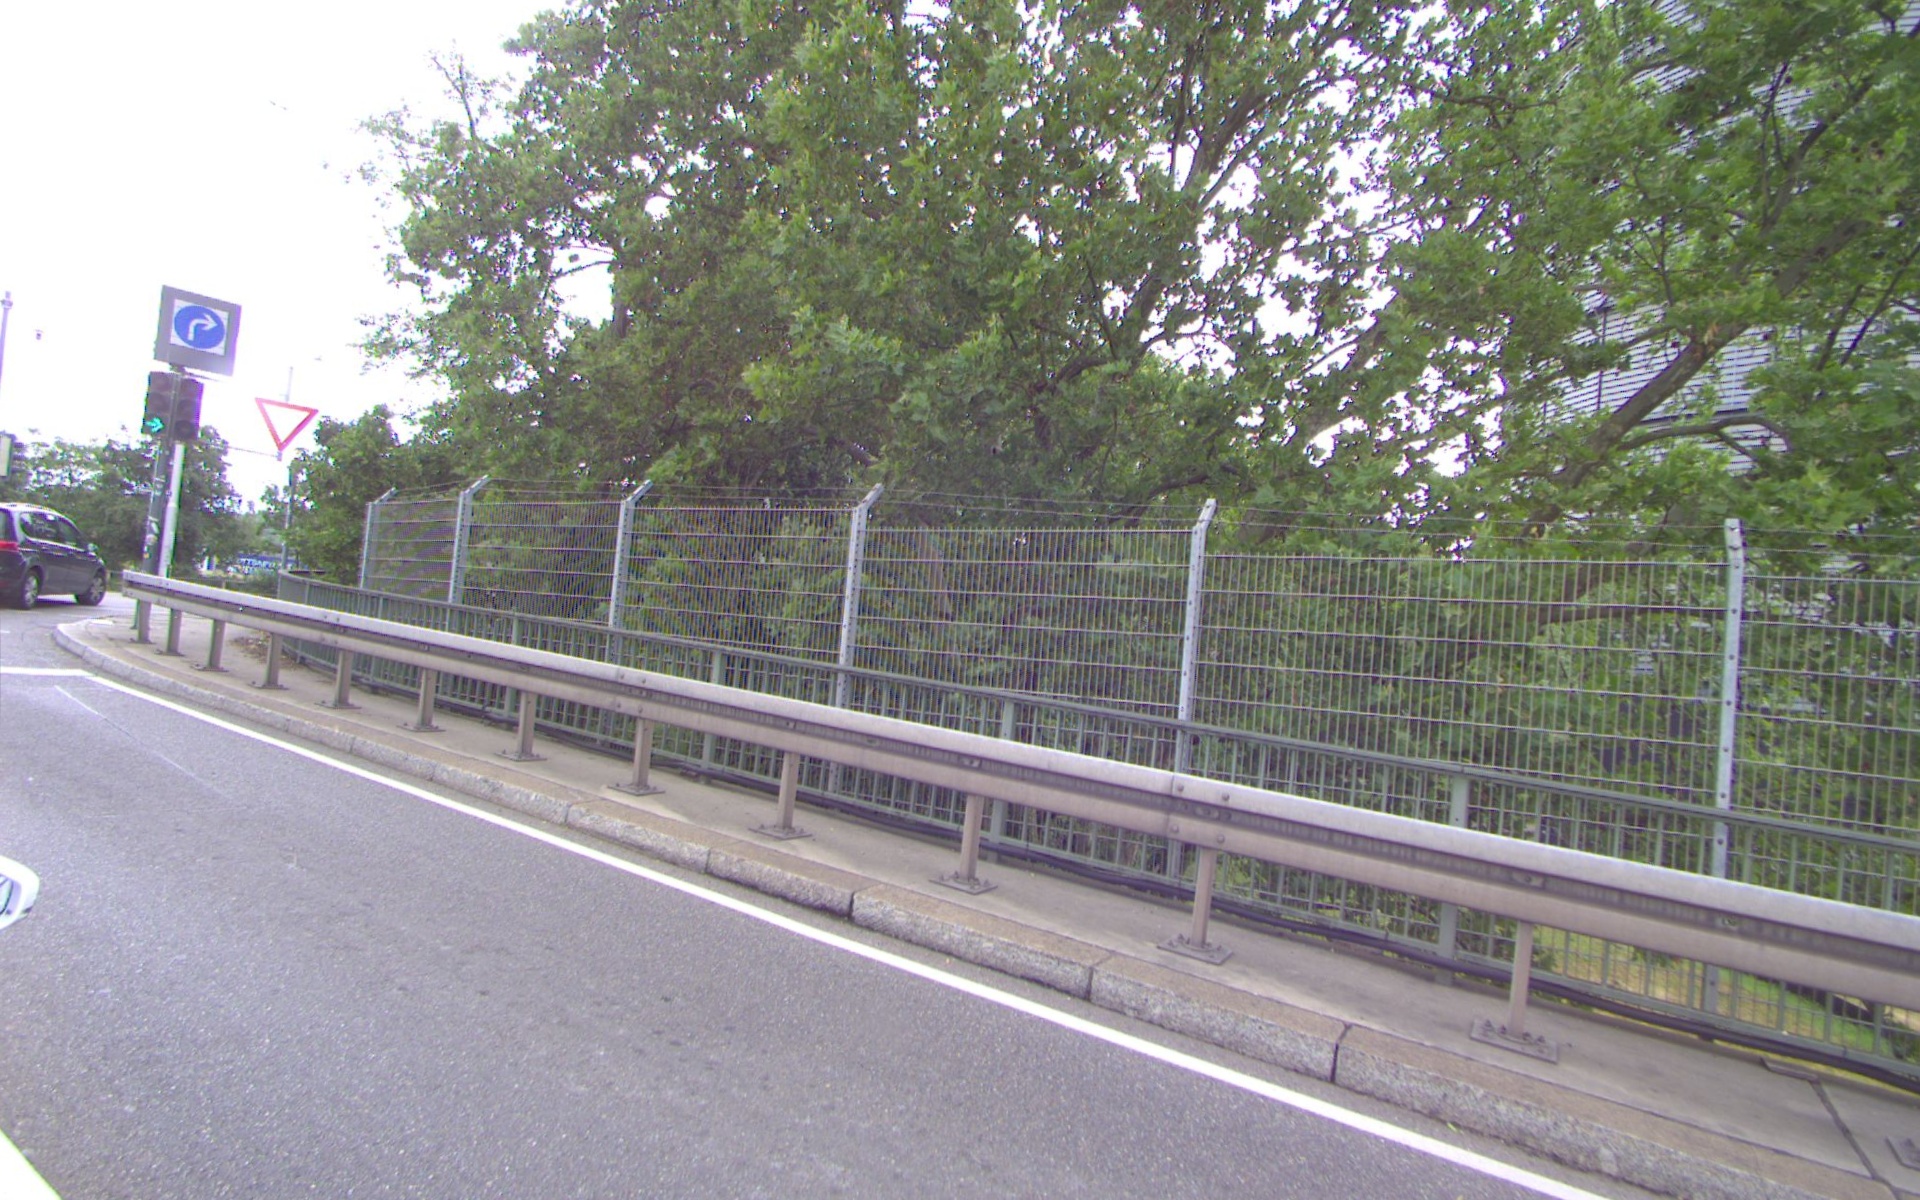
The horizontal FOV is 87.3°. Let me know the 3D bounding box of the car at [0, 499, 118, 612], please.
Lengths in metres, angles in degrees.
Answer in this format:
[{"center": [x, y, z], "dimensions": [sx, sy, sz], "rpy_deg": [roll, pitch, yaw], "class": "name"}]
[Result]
[{"center": [-15.922, -0.816, 16.725], "dimensions": [1.780, 1.672, 4.126], "rpy_deg": [8, -2, -25], "class": "car"}]
